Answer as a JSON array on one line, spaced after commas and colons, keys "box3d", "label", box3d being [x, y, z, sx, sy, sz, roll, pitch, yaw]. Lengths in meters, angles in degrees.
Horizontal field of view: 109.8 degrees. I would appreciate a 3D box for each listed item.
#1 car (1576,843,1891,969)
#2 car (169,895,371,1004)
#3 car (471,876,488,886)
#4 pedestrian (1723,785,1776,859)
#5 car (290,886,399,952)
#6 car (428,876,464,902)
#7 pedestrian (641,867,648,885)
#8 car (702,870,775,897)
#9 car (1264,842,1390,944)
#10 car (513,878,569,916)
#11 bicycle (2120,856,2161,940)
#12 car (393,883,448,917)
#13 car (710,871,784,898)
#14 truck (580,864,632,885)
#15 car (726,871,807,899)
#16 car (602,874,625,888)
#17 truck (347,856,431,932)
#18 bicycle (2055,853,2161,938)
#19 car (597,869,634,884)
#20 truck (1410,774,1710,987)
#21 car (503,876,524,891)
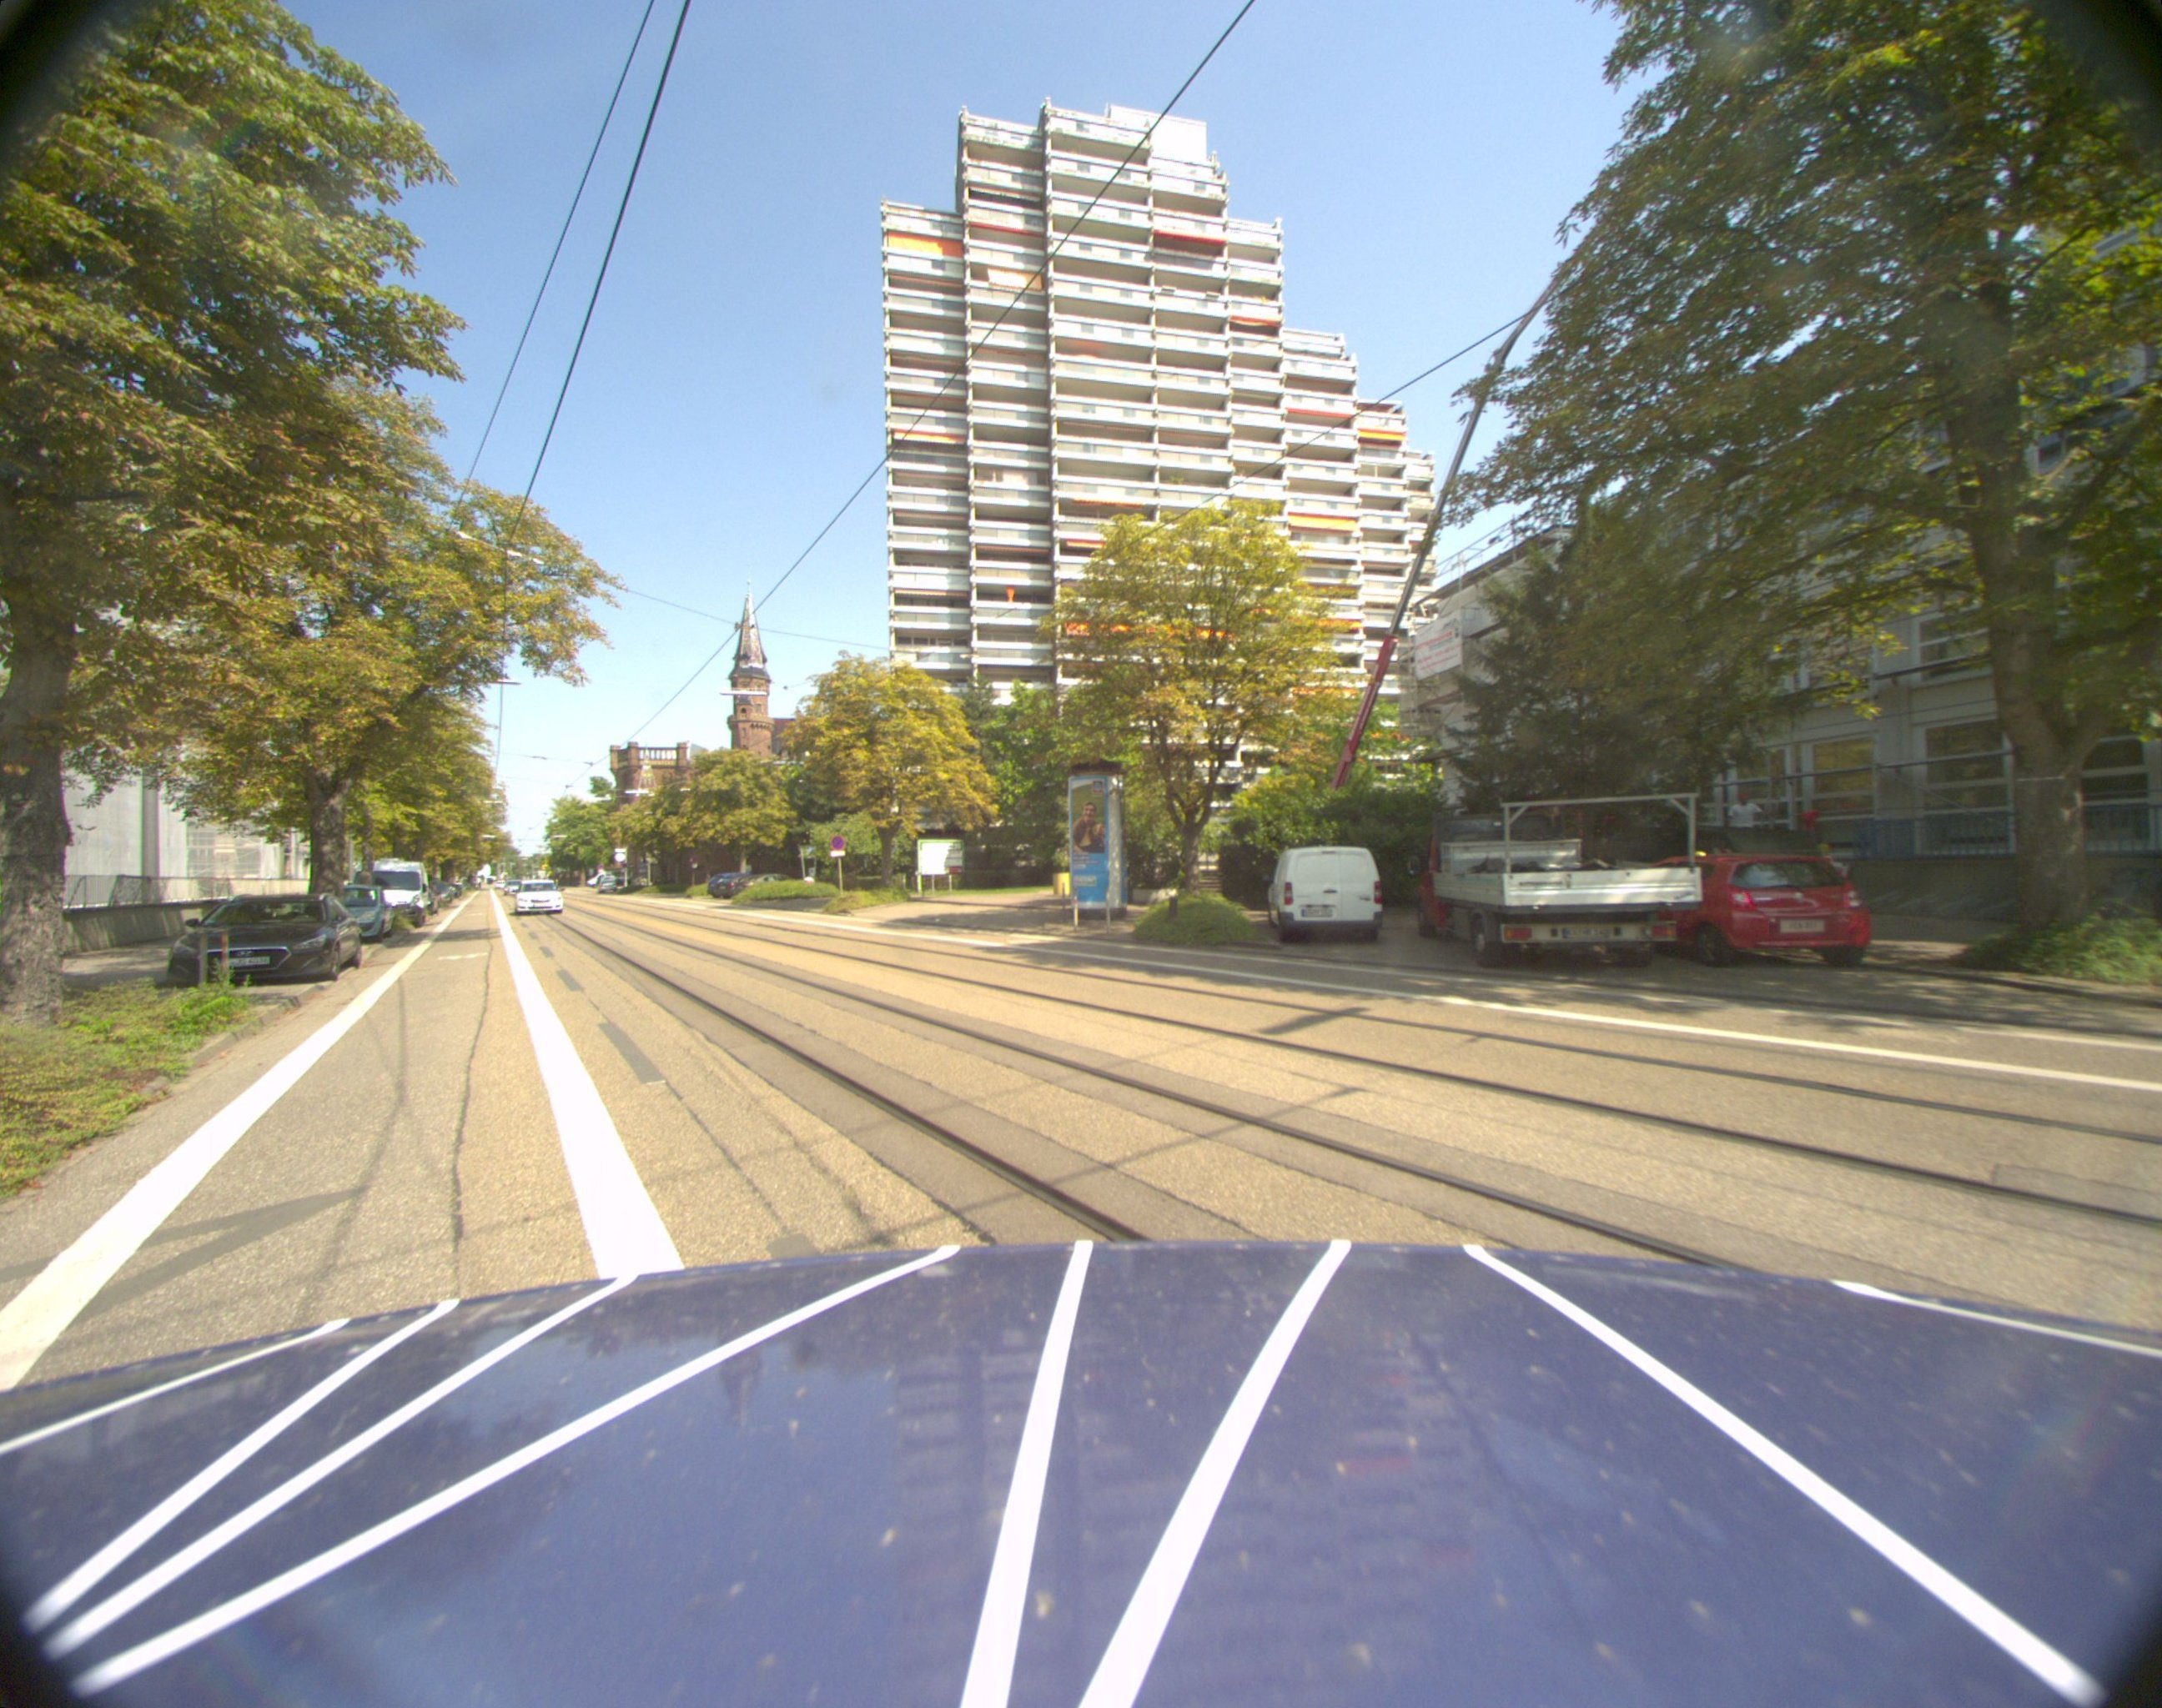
[{"box3d": [9.083, 0.652, 11.069, 1.718, 1.499, 3.863, -1, -1, 9], "label": "car"}, {"box3d": [-14.029, 1.519, 13.432, 1.683, 1.449, 4.652, 0, -1, -37], "label": "car"}, {"box3d": [-93.046, 4.141, 117.543, 2.004, 1.521, 3.990, -1, -1, -37], "label": "car"}, {"box3d": [16.599, -0.761, 18.893, 0.739, 1.776, 0.831, -1, 0, 22], "label": "pedestrian"}, {"box3d": [-20.515, 1.723, 21.314, 1.683, 1.570, 4.160, 1, -1, -37], "label": "car"}, {"box3d": [-44.725, 2.410, 53.595, 1.771, 1.678, 4.637, -1, -1, -38], "label": "car"}, {"box3d": [-50.692, 2.547, 88.237, 0.504, 1.969, 0.519, -1, 1, 7], "label": "pedestrian"}, {"box3d": [-22.685, 1.950, 50.459, 1.837, 1.638, 4.008, -2, -1, 30], "label": "car"}, {"box3d": [4.804, 0.711, 15.403, 1.822, 1.761, 4.289, -1, -1, 10], "label": "car"}, {"box3d": [-23.884, 1.848, 33.556, 1.829, 1.483, 4.009, -1, 0, -37], "label": "car"}, {"box3d": [16.490, 0.607, 11.233, 2.347, 1.153, 0.601, -3, 1, -17], "label": "bicycle"}, {"box3d": [-32.432, 2.229, 37.422, 1.694, 1.432, 4.791, -1, 0, -37], "label": "car"}, {"box3d": [-20.921, 1.895, 47.683, 1.776, 1.560, 4.007, -2, -1, 26], "label": "car"}, {"box3d": [-73.626, 3.143, 117.774, 6.525, 2.511, 2.311, -6, 2, -37], "label": "truck"}, {"box3d": [-18.709, 1.835, 45.344, 1.776, 1.488, 4.304, -2, -1, 27], "label": "car"}, {"box3d": [-52.849, 3.070, 85.915, 1.945, 1.493, 4.503, -1, -1, -35], "label": "car"}, {"box3d": [-25.977, 1.424, 28.696, 1.927, 2.583, 5.577, -1, 0, -38], "label": "truck"}, {"box3d": [16.311, 0.610, 11.840, 2.347, 1.153, 0.601, -3, 1, -17], "label": "bicycle"}, {"box3d": [-69.492, 3.288, 113.412, 4.417, 1.788, 1.995, -6, 2, -35], "label": "car"}, {"box3d": [6.797, 0.314, 11.759, 2.147, 2.420, 5.975, -1, 0, 14], "label": "truck"}, {"box3d": [-59.504, 3.050, 79.662, 1.682, 1.477, 3.768, 0, -1, -37], "label": "car"}]
